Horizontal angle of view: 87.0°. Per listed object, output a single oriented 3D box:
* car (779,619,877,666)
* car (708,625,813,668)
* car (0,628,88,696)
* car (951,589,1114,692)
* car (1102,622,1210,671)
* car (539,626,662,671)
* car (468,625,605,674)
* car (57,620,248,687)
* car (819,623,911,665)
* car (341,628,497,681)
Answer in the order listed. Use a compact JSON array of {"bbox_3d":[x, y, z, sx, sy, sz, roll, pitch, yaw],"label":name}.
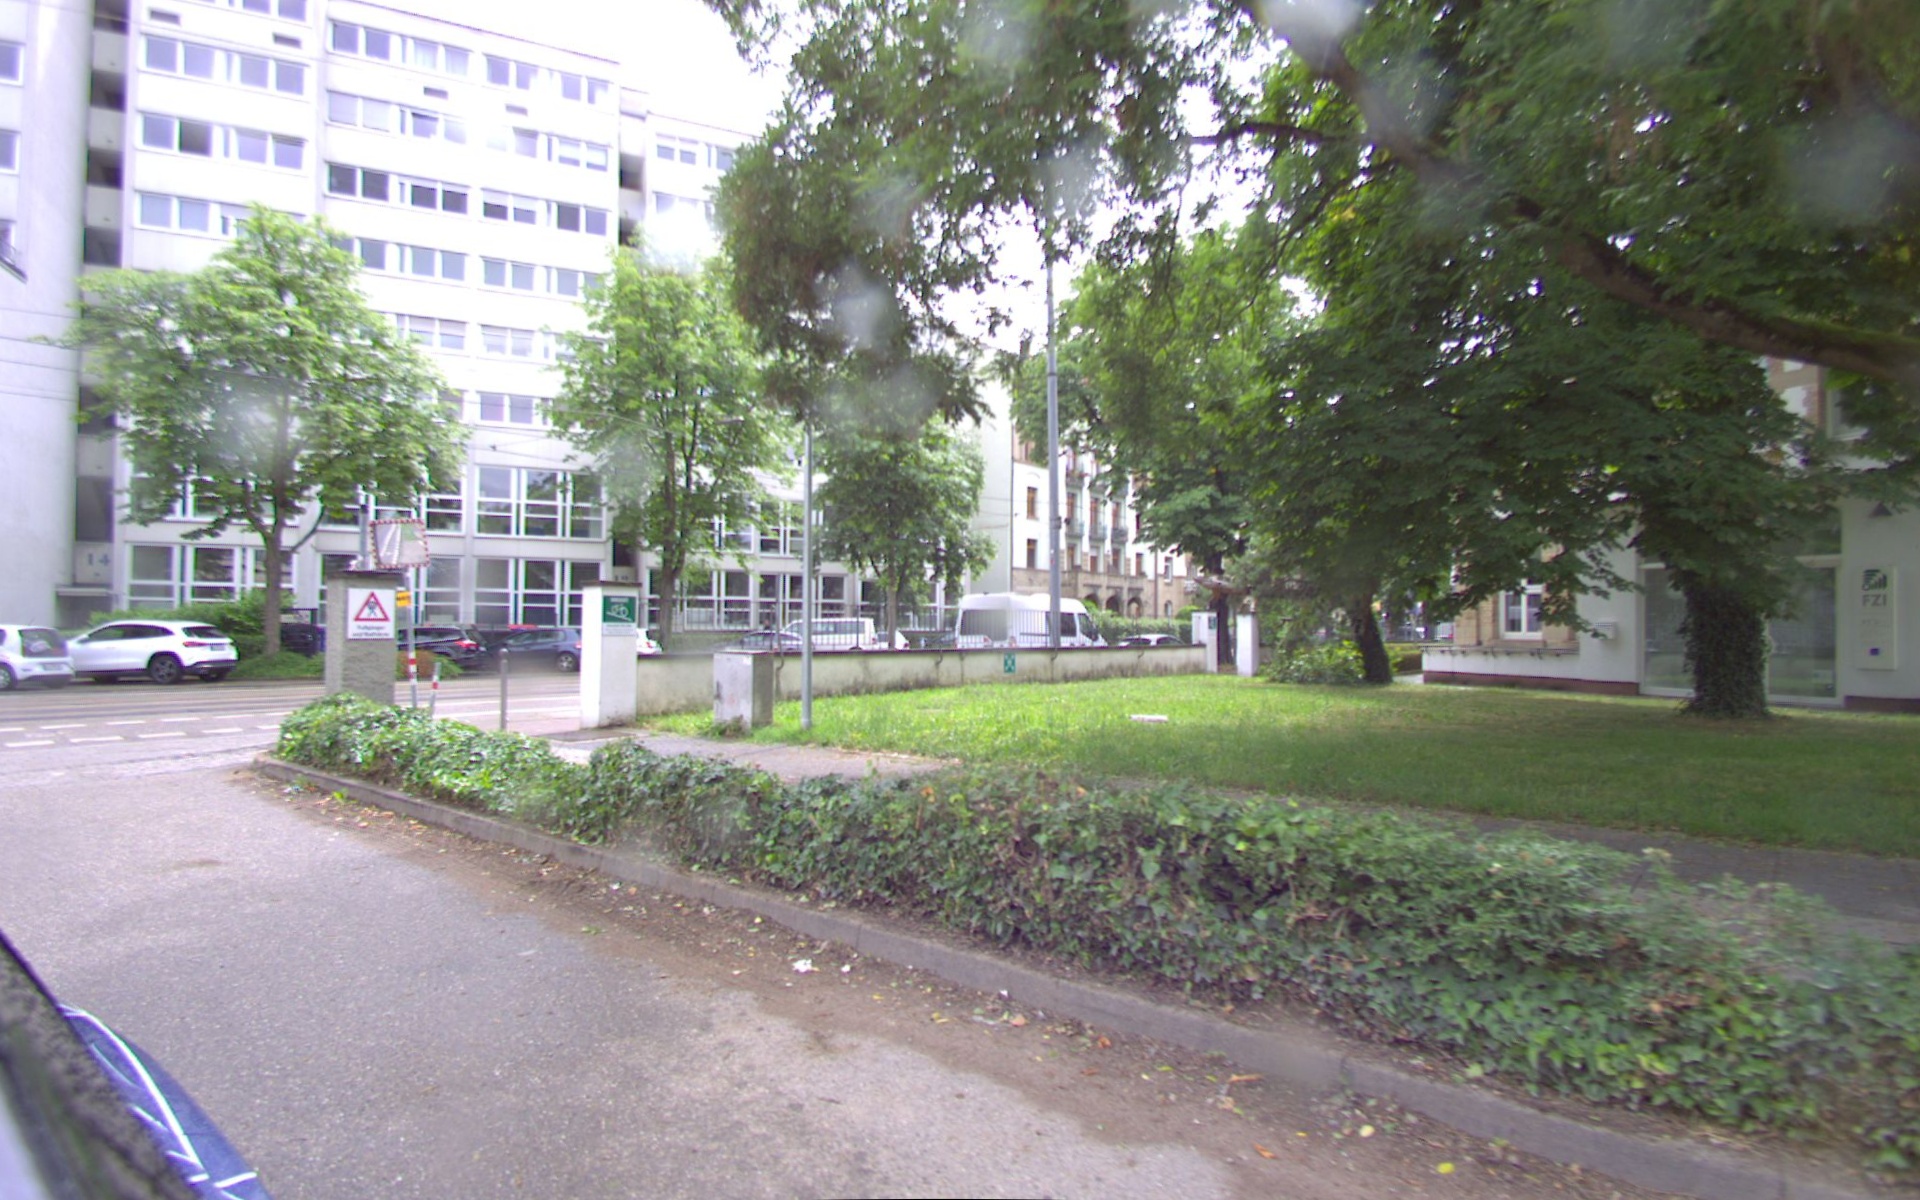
[{"bbox_3d":[-5.601,1.834,43.350,4.023,1.947,1.791,1,-3,-4],"label":"car"},{"bbox_3d":[-8.087,1.890,40.879,4.016,1.663,1.795,1,-3,-14],"label":"car"},{"bbox_3d":[-21.978,1.388,22.673,3.338,1.456,1.655,0,-3,-4],"label":"car"},{"bbox_3d":[2.117,1.158,28.163,2.092,2.601,5.015,-2,-4,38],"label":"car"},{"bbox_3d":[6.558,1.551,33.573,1.909,1.534,4.089,-2,-4,38],"label":"car"},{"bbox_3d":[-12.596,1.725,35.658,3.724,1.517,1.791,1,-3,-4],"label":"car"},{"bbox_3d":[-13.735,1.616,32.993,3.724,1.517,1.791,1,-3,-4],"label":"car"},{"bbox_3d":[-20.159,1.334,25.392,3.338,1.615,1.709,0,-3,-4],"label":"car"},{"bbox_3d":[-4.277,2.002,45.685,4.023,1.820,1.791,1,-3,-4],"label":"car"},{"bbox_3d":[-16.289,1.647,30.596,3.724,1.517,1.791,1,-3,-4],"label":"car"}]
